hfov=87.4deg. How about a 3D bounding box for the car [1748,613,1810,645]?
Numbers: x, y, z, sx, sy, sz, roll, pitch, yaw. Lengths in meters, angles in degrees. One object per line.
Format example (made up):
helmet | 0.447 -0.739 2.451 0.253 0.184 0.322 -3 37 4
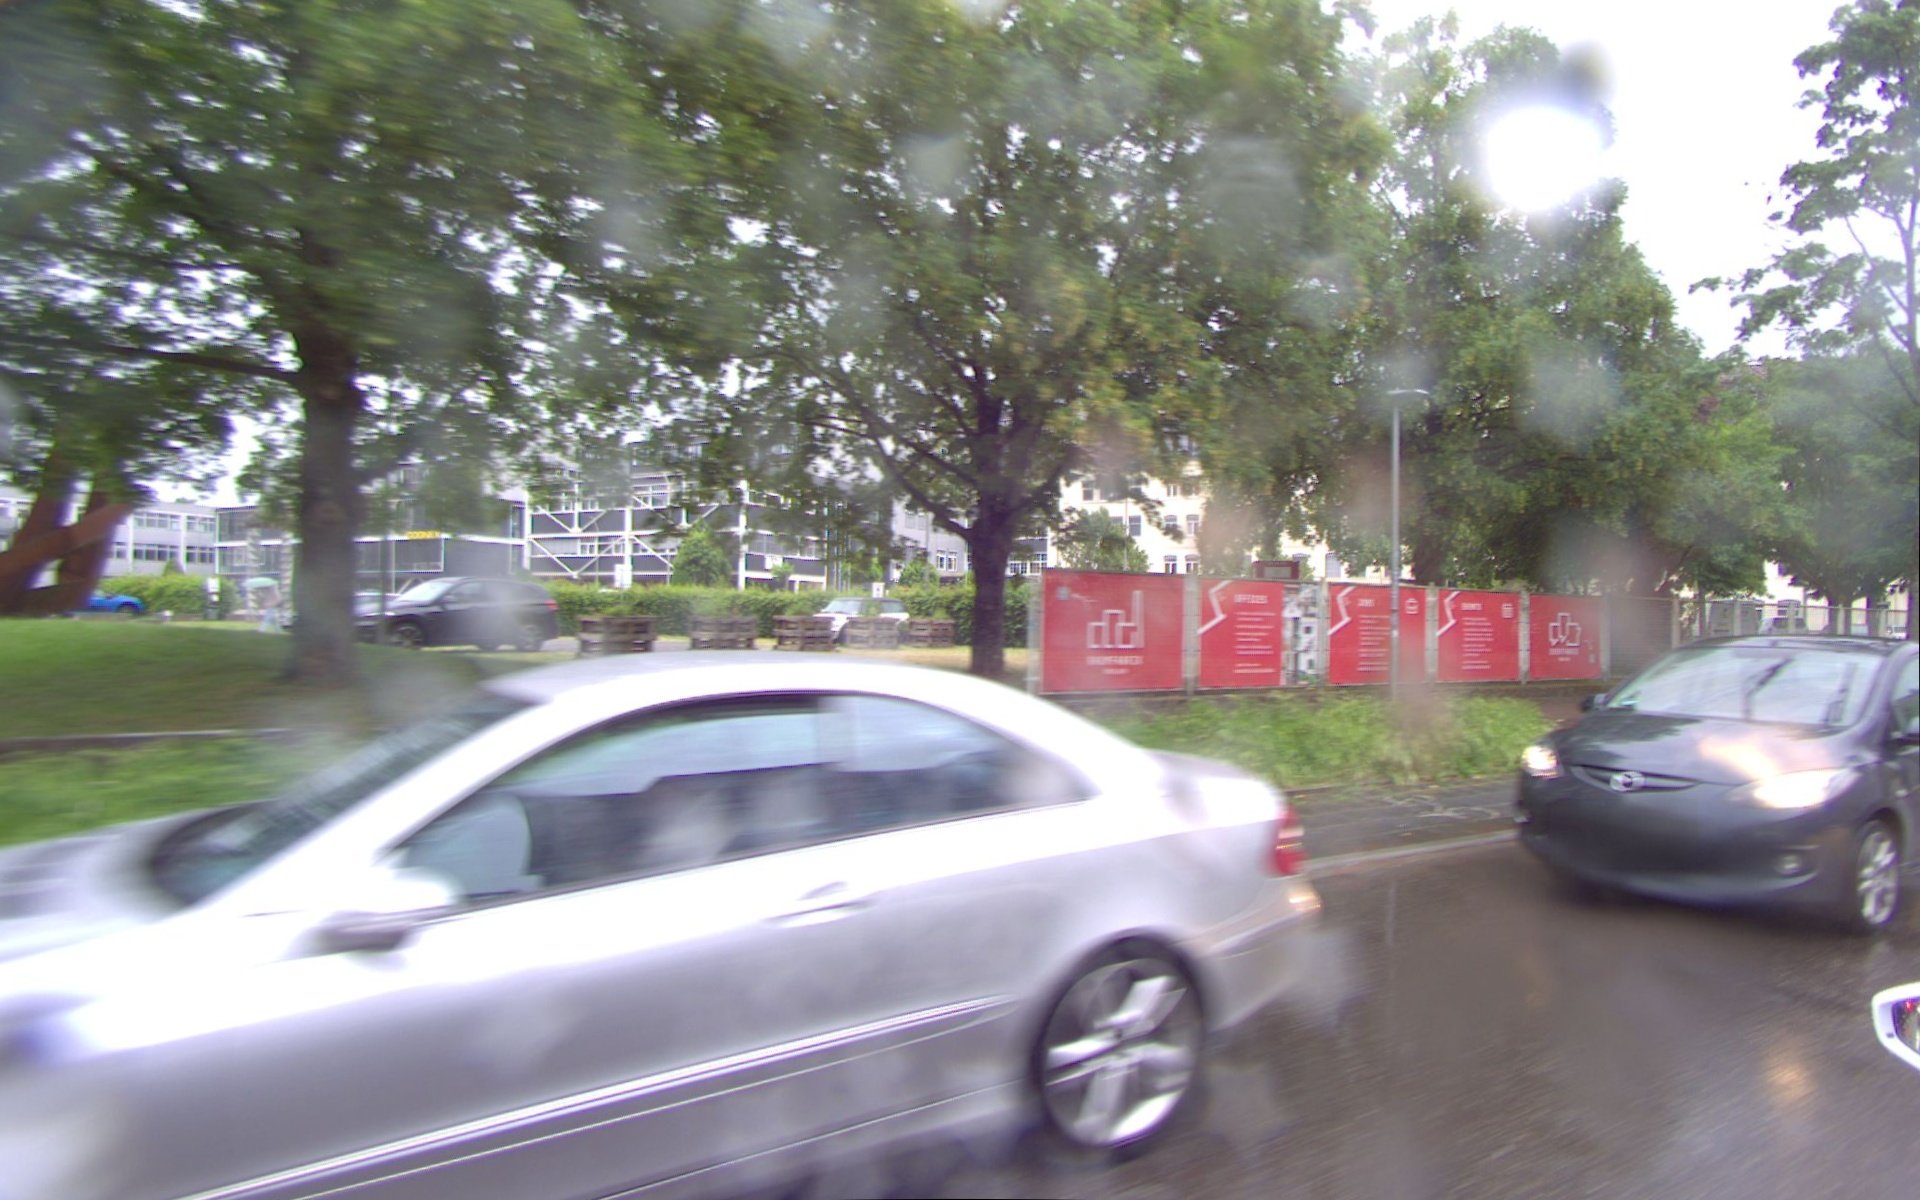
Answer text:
car | 39.959 1.394 49.077 1.679 1.453 3.644 2 0 28

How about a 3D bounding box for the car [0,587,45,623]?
car | -45.273 0.226 46.440 1.963 1.636 3.995 0 0 27

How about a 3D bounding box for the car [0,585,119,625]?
car | -39.208 0.221 43.391 1.963 1.636 3.995 0 0 27

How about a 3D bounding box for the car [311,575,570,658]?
car | -10.691 0.327 20.983 1.966 1.547 4.421 1 0 33

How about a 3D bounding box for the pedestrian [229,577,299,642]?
pedestrian | -20.510 0.272 29.623 1.053 1.864 1.475 1 0 41

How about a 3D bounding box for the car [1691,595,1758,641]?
car | 38.114 0.906 50.168 1.963 2.150 3.994 2 0 28

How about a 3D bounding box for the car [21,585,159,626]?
car | -36.951 0.219 42.778 1.963 1.636 3.995 0 0 27

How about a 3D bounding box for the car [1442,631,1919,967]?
car | 5.104 0.928 6.242 4.215 1.439 1.770 1 -1 -30

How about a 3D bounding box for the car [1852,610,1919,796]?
car | 10.902 0.994 9.727 4.763 1.661 1.906 2 0 -29

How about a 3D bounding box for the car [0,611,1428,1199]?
car | -0.992 0.788 2.713 4.776 1.422 1.765 2 0 -32

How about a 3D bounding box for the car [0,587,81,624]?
car | -42.846 0.224 45.597 1.963 1.636 3.995 0 0 27

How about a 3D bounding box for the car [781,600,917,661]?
car | -3.112 0.861 28.979 1.772 1.604 3.989 0 -1 33
